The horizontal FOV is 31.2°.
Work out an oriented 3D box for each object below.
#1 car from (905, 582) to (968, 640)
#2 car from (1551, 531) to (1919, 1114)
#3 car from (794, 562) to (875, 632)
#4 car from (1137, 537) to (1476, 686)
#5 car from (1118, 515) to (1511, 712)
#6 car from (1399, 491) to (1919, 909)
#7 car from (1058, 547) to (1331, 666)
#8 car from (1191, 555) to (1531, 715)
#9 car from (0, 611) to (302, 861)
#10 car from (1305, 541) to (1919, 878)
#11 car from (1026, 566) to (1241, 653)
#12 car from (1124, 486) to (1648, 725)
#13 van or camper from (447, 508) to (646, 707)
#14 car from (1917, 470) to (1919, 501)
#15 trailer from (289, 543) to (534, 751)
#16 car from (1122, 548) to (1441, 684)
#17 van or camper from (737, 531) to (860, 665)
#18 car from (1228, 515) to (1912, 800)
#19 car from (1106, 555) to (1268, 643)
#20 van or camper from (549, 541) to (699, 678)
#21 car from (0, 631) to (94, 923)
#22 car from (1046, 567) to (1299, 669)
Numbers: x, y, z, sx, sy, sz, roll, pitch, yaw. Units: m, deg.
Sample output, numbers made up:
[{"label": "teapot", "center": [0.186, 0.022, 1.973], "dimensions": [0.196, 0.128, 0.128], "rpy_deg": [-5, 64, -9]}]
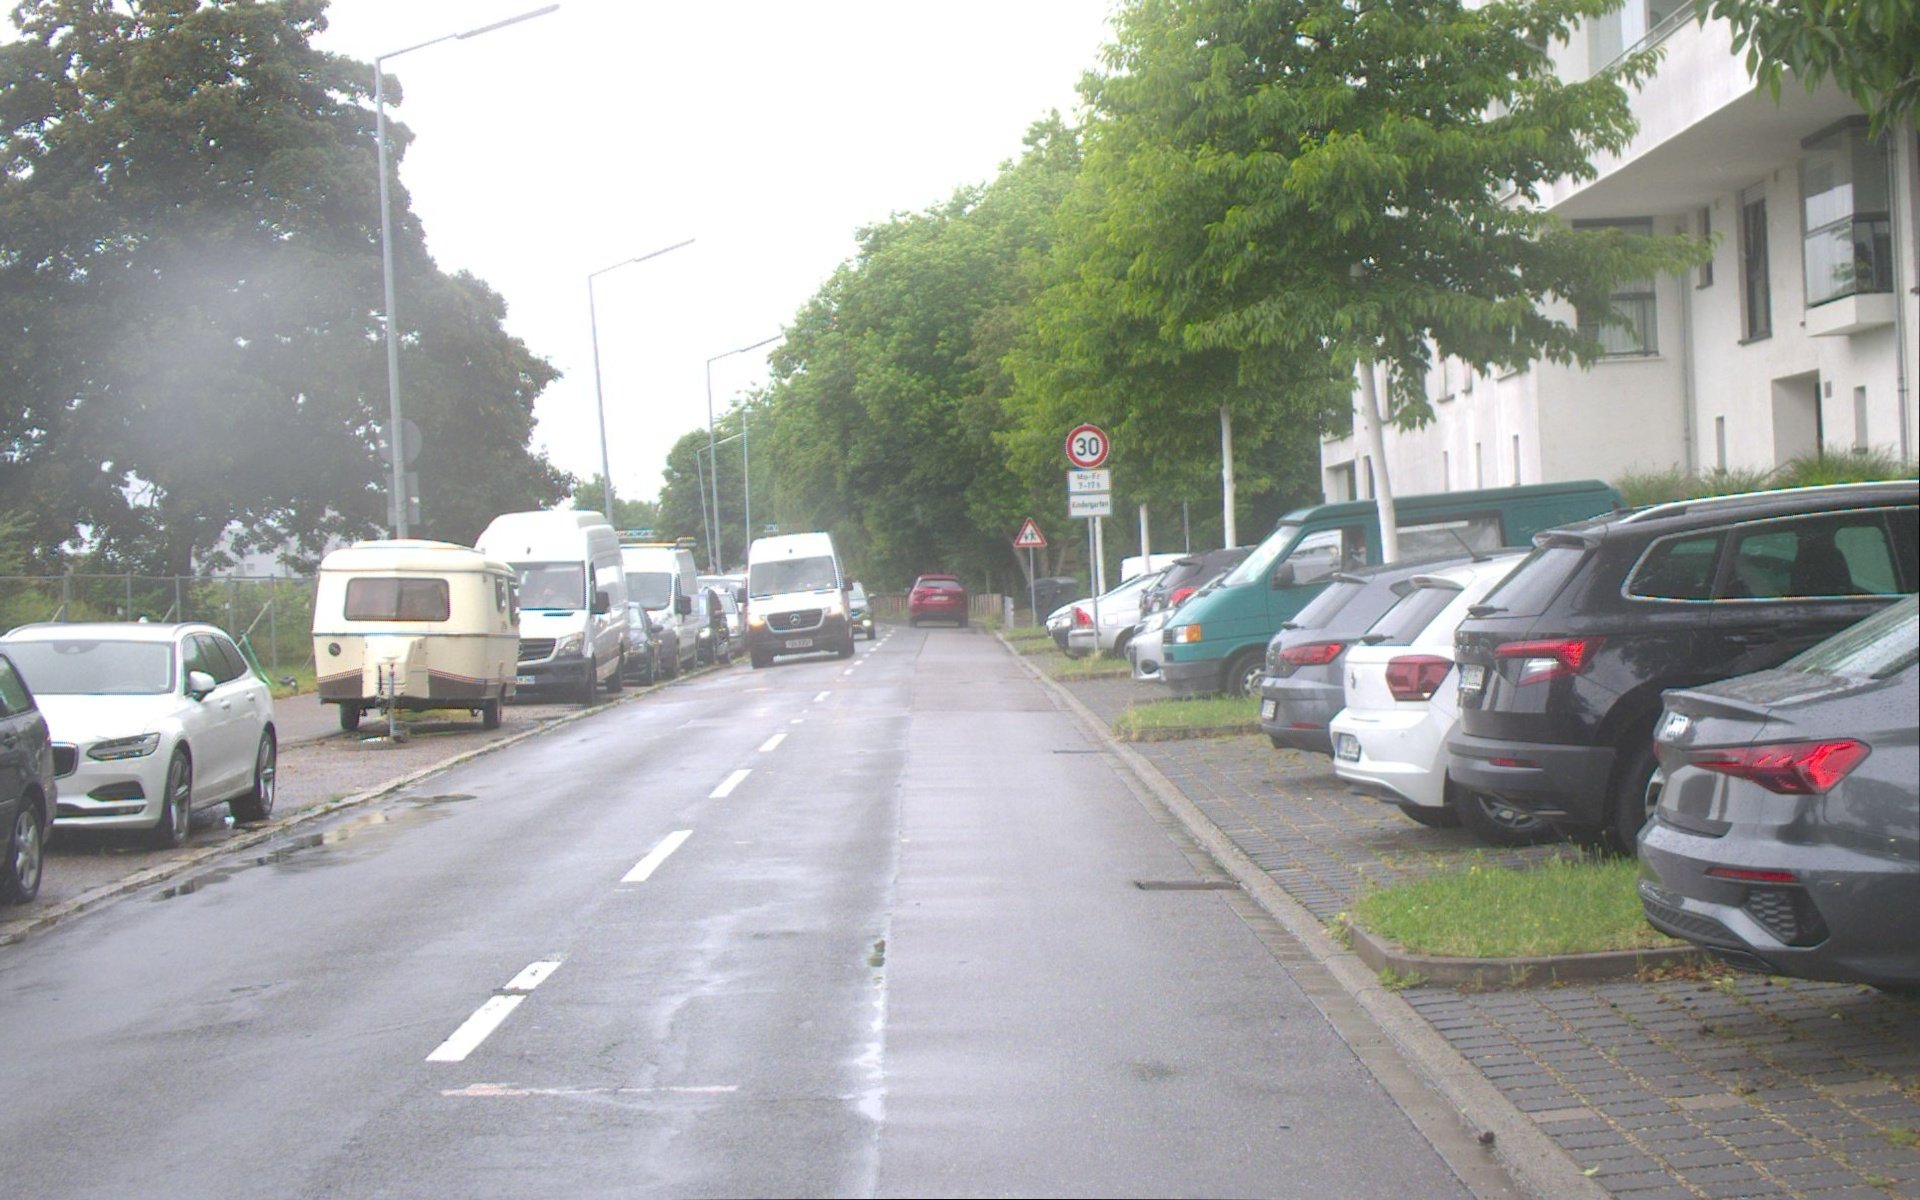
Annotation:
[{"label": "car", "center": [-0.719, 0.330, 108.419], "dimensions": [1.756, 1.700, 4.000], "rpy_deg": [-3, 0, 2]}, {"label": "car", "center": [3.949, 0.488, 10.223], "dimensions": [3.987, 1.504, 1.684], "rpy_deg": [-4, 1, 0]}, {"label": "car", "center": [-3.327, -0.093, 91.734], "dimensions": [1.882, 1.751, 4.068], "rpy_deg": [-3, 0, 1]}, {"label": "car", "center": [4.307, 0.132, 43.081], "dimensions": [3.882, 1.676, 1.864], "rpy_deg": [-2, 0, -5]}, {"label": "car", "center": [3.881, 0.136, 38.096], "dimensions": [4.094, 1.888, 1.726], "rpy_deg": [-4, 0, 1]}, {"label": "car", "center": [4.250, 0.331, 15.409], "dimensions": [4.161, 1.619, 1.898], "rpy_deg": [-4, 0, -2]}, {"label": "car", "center": [3.917, 0.100, 58.066], "dimensions": [4.388, 1.770, 2.005], "rpy_deg": [-3, 0, 0]}, {"label": "car", "center": [4.087, 0.345, 35.314], "dimensions": [3.254, 1.477, 1.317], "rpy_deg": [-2, 0, -2]}, {"label": "car", "center": [-5.974, 0.853, 23.946], "dimensions": [1.887, 1.520, 5.110], "rpy_deg": [0, 0, -1]}, {"label": "car", "center": [4.065, 0.483, 17.634], "dimensions": [4.298, 1.423, 1.637], "rpy_deg": [-4, 0, -2]}, {"label": "car", "center": [3.539, 0.193, 70.539], "dimensions": [4.091, 1.569, 1.868], "rpy_deg": [-3, 0, -7]}, {"label": "car", "center": [4.025, 0.046, 32.928], "dimensions": [4.617, 2.012, 1.858], "rpy_deg": [-3, 0, -4]}, {"label": "van or camper", "center": [-6.148, 0.099, 52.091], "dimensions": [1.993, 2.753, 7.898], "rpy_deg": [-1, 0, 0]}, {"label": "car", "center": [4.201, 0.375, 5.804], "dimensions": [4.476, 1.681, 1.936], "rpy_deg": [-6, 1, -1]}, {"label": "trailer", "center": [-6.285, 0.492, 40.072], "dimensions": [2.058, 2.210, 5.795], "rpy_deg": [-1, 0, -2]}, {"label": "car", "center": [4.236, 0.206, 45.665], "dimensions": [3.882, 1.595, 1.864], "rpy_deg": [-3, 0, -5]}, {"label": "van or camper", "center": [-3.253, -0.053, 70.702], "dimensions": [1.993, 2.489, 7.178], "rpy_deg": [-3, 0, 1]}, {"label": "car", "center": [3.904, 0.357, 22.409], "dimensions": [4.030, 1.494, 1.632], "rpy_deg": [-4, 0, -3]}, {"label": "car", "center": [6.161, -0.030, 93.244], "dimensions": [3.991, 2.285, 1.775], "rpy_deg": [-1, 0, 20]}, {"label": "van or camper", "center": [-6.385, 0.169, 66.054], "dimensions": [2.189, 2.453, 6.377], "rpy_deg": [-1, 0, 0]}, {"label": "car", "center": [-5.895, 0.944, 17.391], "dimensions": [1.774, 1.497, 4.827], "rpy_deg": [0, 0, 0]}, {"label": "car", "center": [3.835, 0.326, 62.571], "dimensions": [4.388, 1.628, 2.005], "rpy_deg": [-3, 0, 0]}]
